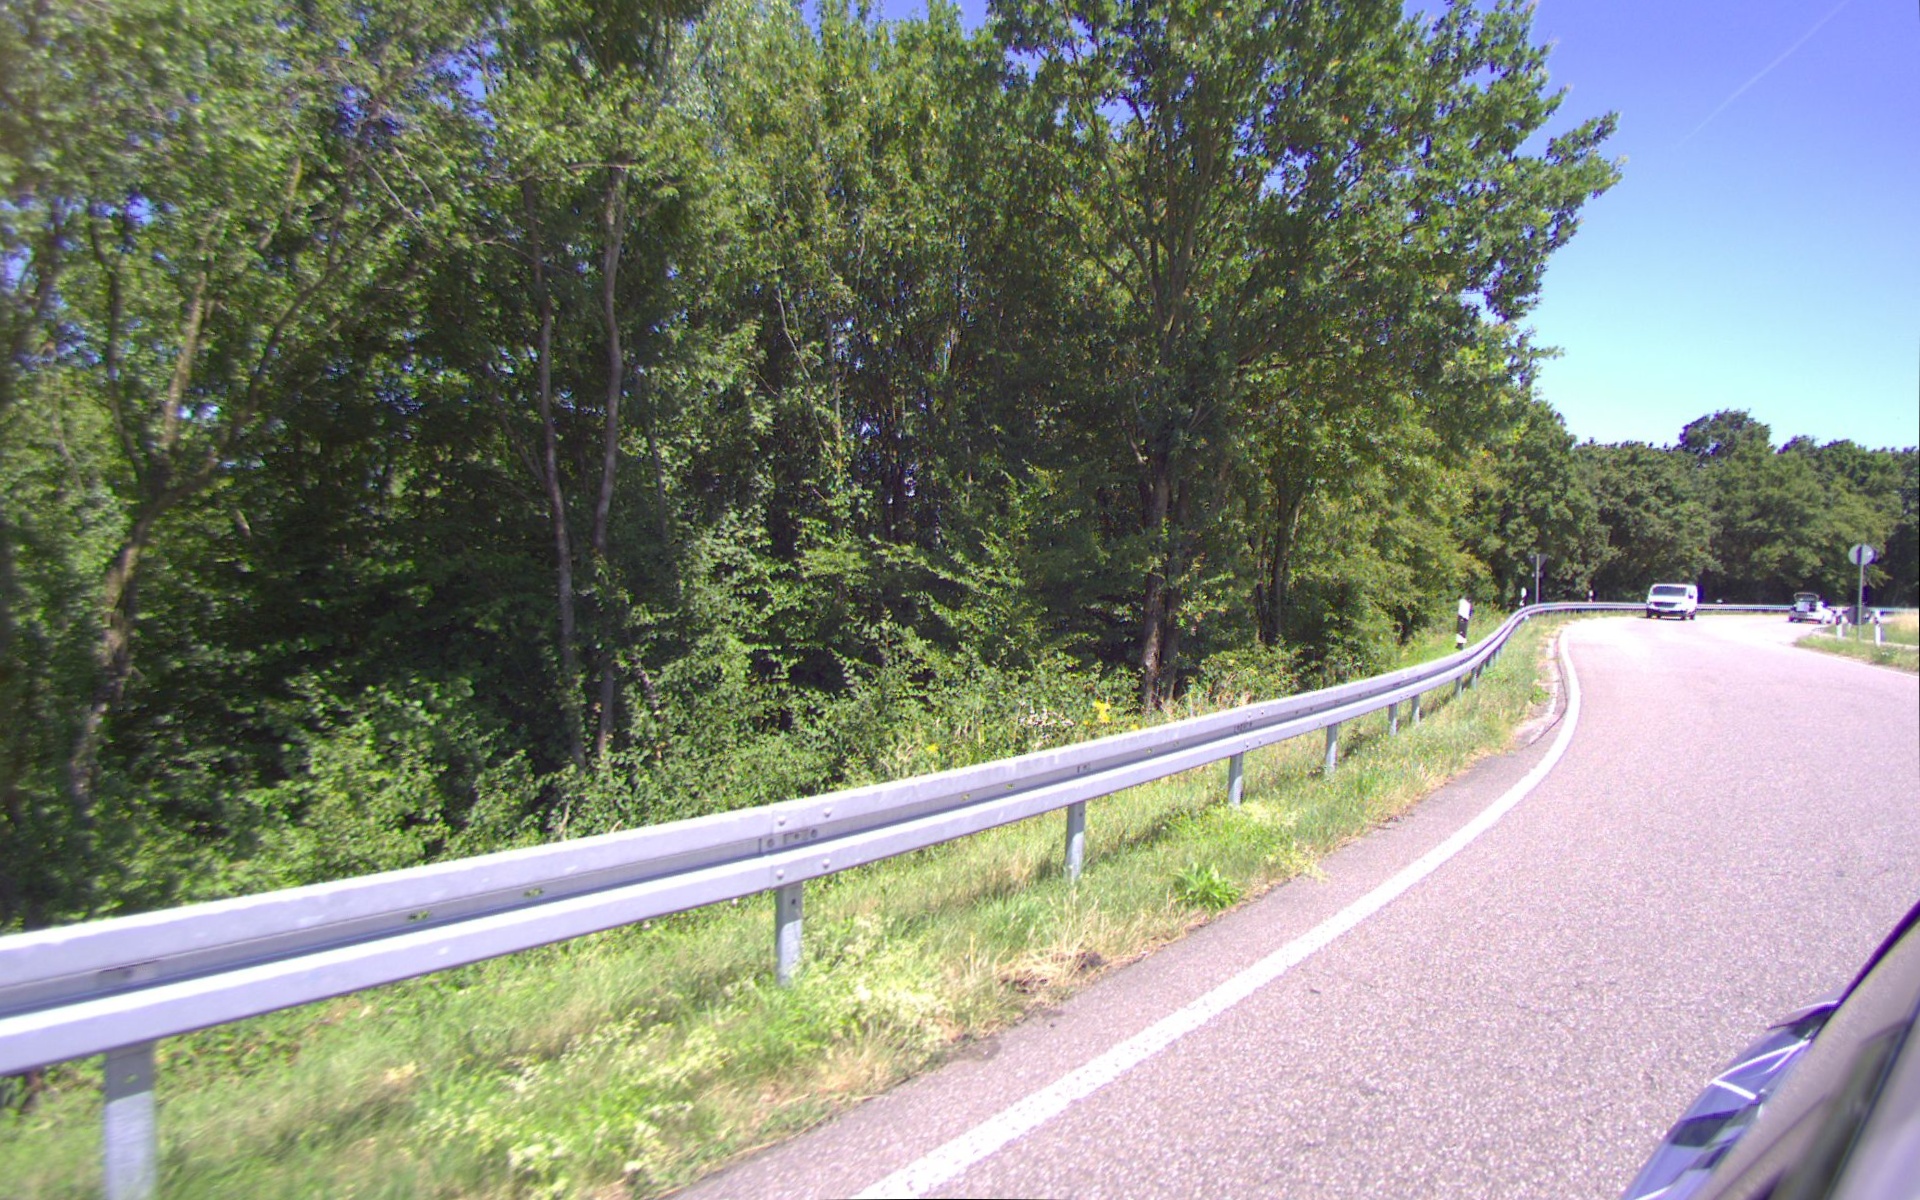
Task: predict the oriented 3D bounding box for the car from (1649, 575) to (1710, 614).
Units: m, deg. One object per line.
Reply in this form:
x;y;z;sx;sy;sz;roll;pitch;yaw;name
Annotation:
40.654;-0.308;57.130;4.371;2.038;1.996;0;3;-45;car

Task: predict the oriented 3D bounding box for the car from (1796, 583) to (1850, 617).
56.445;-0.002;66.168;4.367;2.038;1.998;0;3;-41;car
